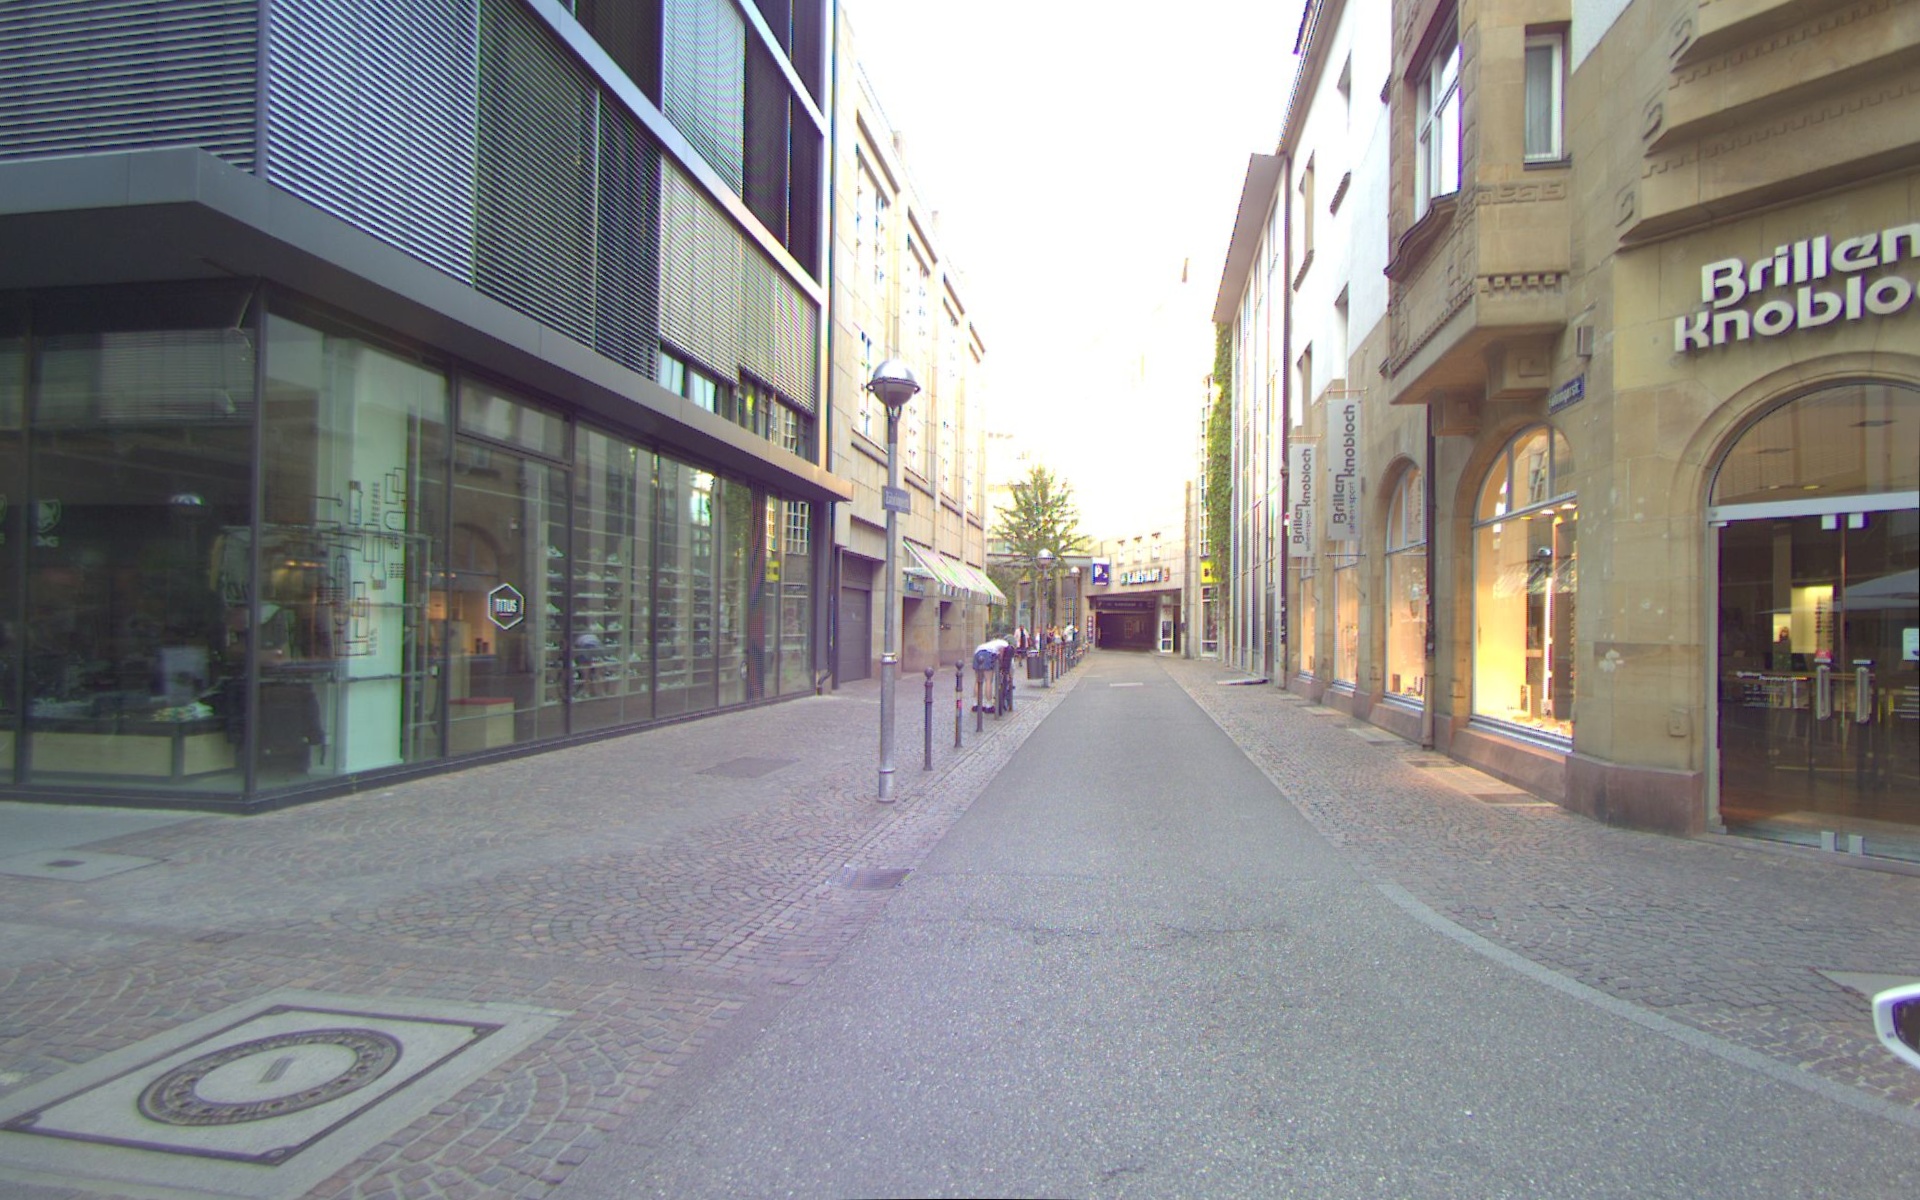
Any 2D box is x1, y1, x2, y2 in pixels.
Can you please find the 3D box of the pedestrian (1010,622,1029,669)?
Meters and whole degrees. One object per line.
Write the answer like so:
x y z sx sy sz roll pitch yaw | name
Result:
2.308 1.770 39.192 0.645 1.787 0.616 1 -1 -4 | pedestrian

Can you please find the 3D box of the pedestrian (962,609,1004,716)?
0.411 1.067 17.536 0.598 1.814 0.911 0 -1 8 | pedestrian

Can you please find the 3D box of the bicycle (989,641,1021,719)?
0.795 1.356 17.461 0.404 1.248 1.828 0 -1 7 | bicycle

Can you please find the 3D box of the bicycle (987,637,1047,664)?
2.656 2.364 47.068 2.716 1.216 0.732 1 -1 -9 | bicycle

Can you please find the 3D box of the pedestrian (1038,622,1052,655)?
4.219 1.899 49.684 0.580 1.625 0.666 1 -1 11 | pedestrian

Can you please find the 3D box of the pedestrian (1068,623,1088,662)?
5.417 1.945 45.985 0.849 1.780 0.799 1 -1 10 | pedestrian

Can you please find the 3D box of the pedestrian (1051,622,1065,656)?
4.807 1.898 49.183 0.574 1.625 0.628 1 -1 10 | pedestrian

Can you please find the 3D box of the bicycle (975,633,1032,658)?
2.166 2.248 49.590 2.716 1.216 0.732 1 -1 -9 | bicycle

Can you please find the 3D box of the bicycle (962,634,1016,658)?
1.496 2.389 51.864 2.716 1.216 0.732 1 -1 -9 | bicycle

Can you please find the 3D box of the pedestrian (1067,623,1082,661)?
5.576 2.040 48.970 0.619 1.780 0.799 1 -1 10 | pedestrian

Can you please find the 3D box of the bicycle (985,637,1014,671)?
1.358 1.838 34.315 0.472 1.095 2.243 0 -1 16 | bicycle

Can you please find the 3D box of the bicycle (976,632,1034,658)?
2.159 2.172 48.634 2.716 1.216 0.732 1 -1 -9 | bicycle

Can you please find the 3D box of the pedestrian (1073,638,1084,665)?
5.228 2.266 44.274 0.458 1.183 0.522 1 -1 10 | pedestrian
